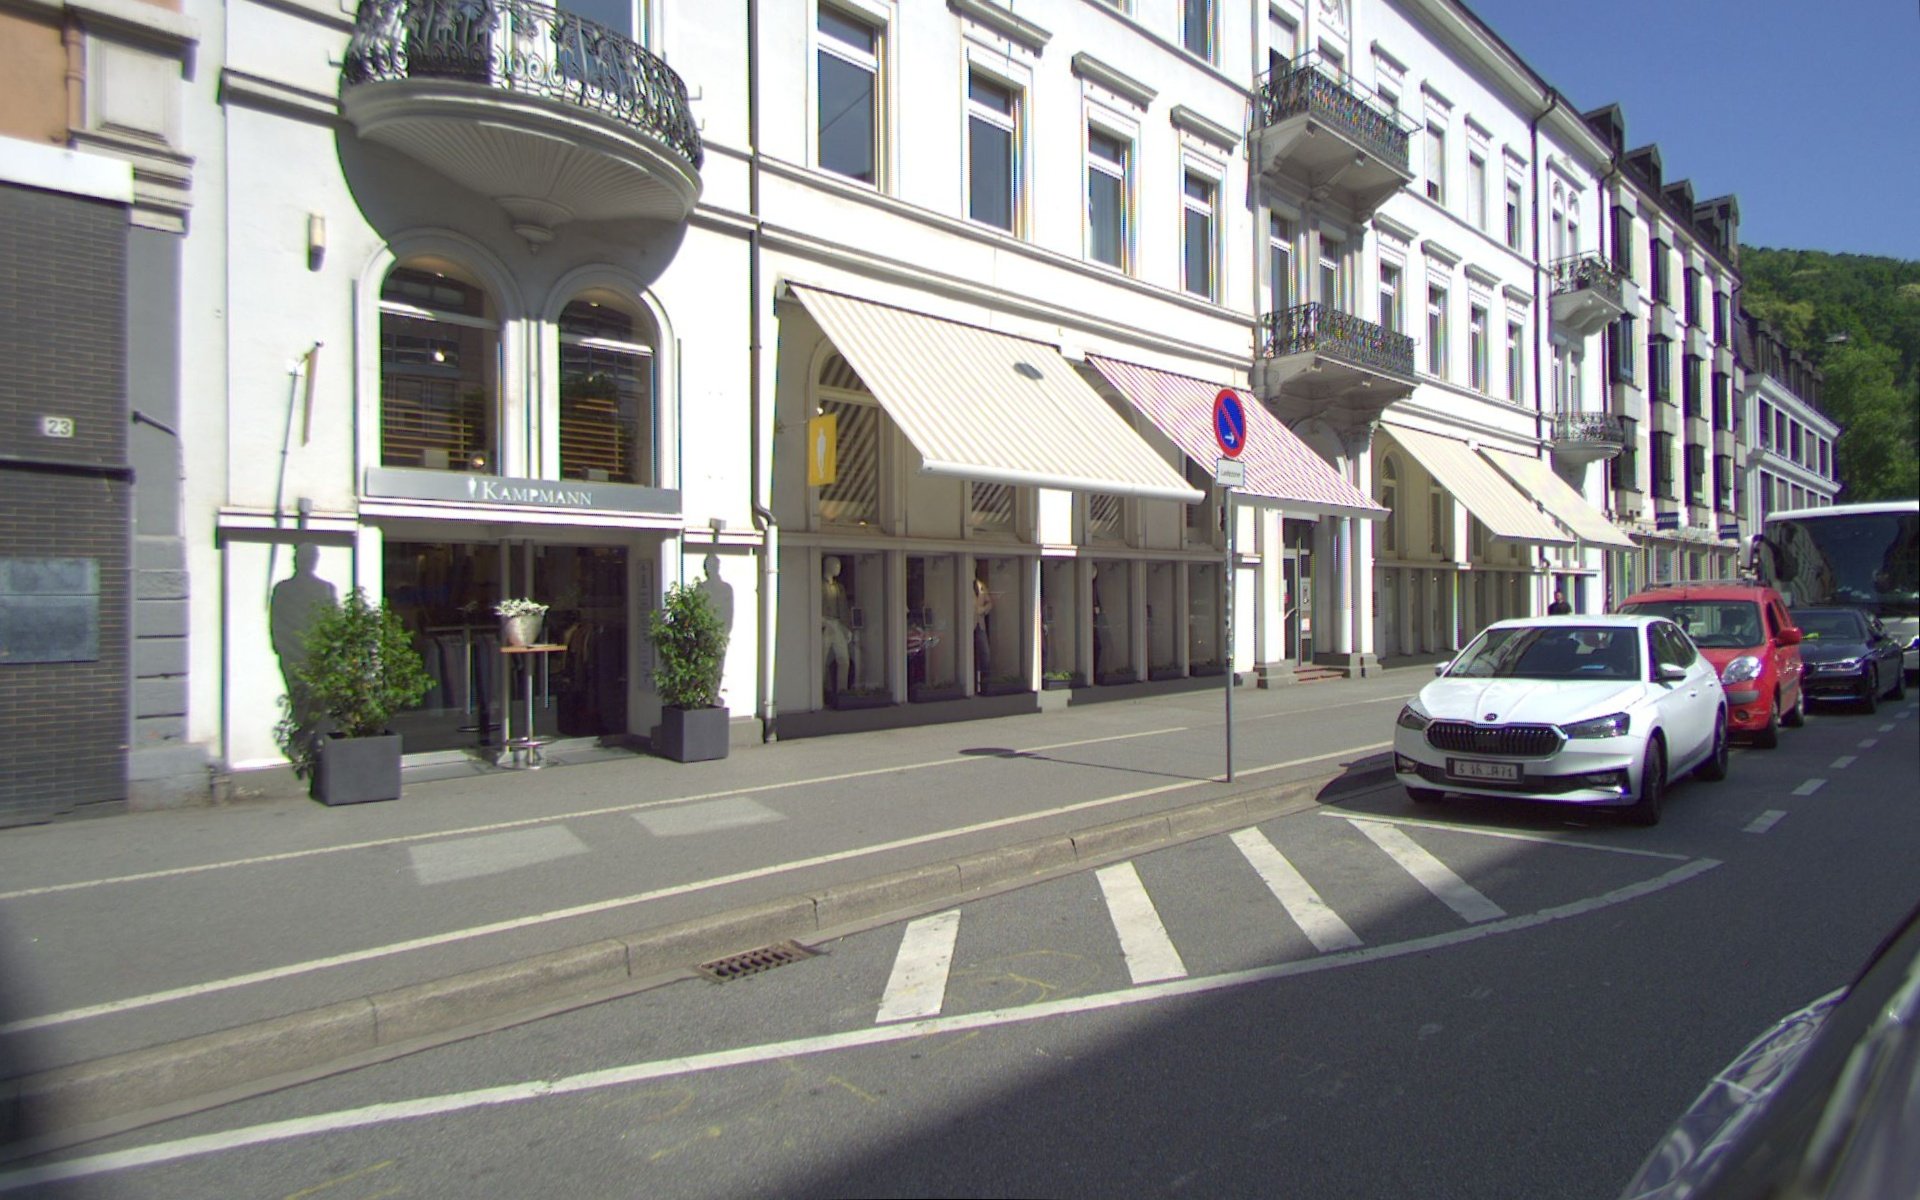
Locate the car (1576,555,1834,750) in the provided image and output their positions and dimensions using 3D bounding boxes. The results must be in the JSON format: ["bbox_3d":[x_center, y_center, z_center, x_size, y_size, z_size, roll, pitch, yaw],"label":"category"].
[{"bbox_3d":[9.151,0.561,12.275,4.530,1.937,1.699,0,-3,-44],"label":"car"}]

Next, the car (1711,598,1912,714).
[{"bbox_3d":[12.997,0.744,15.351,4.341,1.506,1.865,0,-1,-44],"label":"car"}]

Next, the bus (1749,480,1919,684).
[{"bbox_3d":[20.817,-0.343,22.689,12.292,3.582,2.918,-1,-3,-43],"label":"bus"}]

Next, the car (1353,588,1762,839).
[{"bbox_3d":[5.097,0.781,8.378,4.192,1.544,1.795,1,-4,-44],"label":"car"}]
